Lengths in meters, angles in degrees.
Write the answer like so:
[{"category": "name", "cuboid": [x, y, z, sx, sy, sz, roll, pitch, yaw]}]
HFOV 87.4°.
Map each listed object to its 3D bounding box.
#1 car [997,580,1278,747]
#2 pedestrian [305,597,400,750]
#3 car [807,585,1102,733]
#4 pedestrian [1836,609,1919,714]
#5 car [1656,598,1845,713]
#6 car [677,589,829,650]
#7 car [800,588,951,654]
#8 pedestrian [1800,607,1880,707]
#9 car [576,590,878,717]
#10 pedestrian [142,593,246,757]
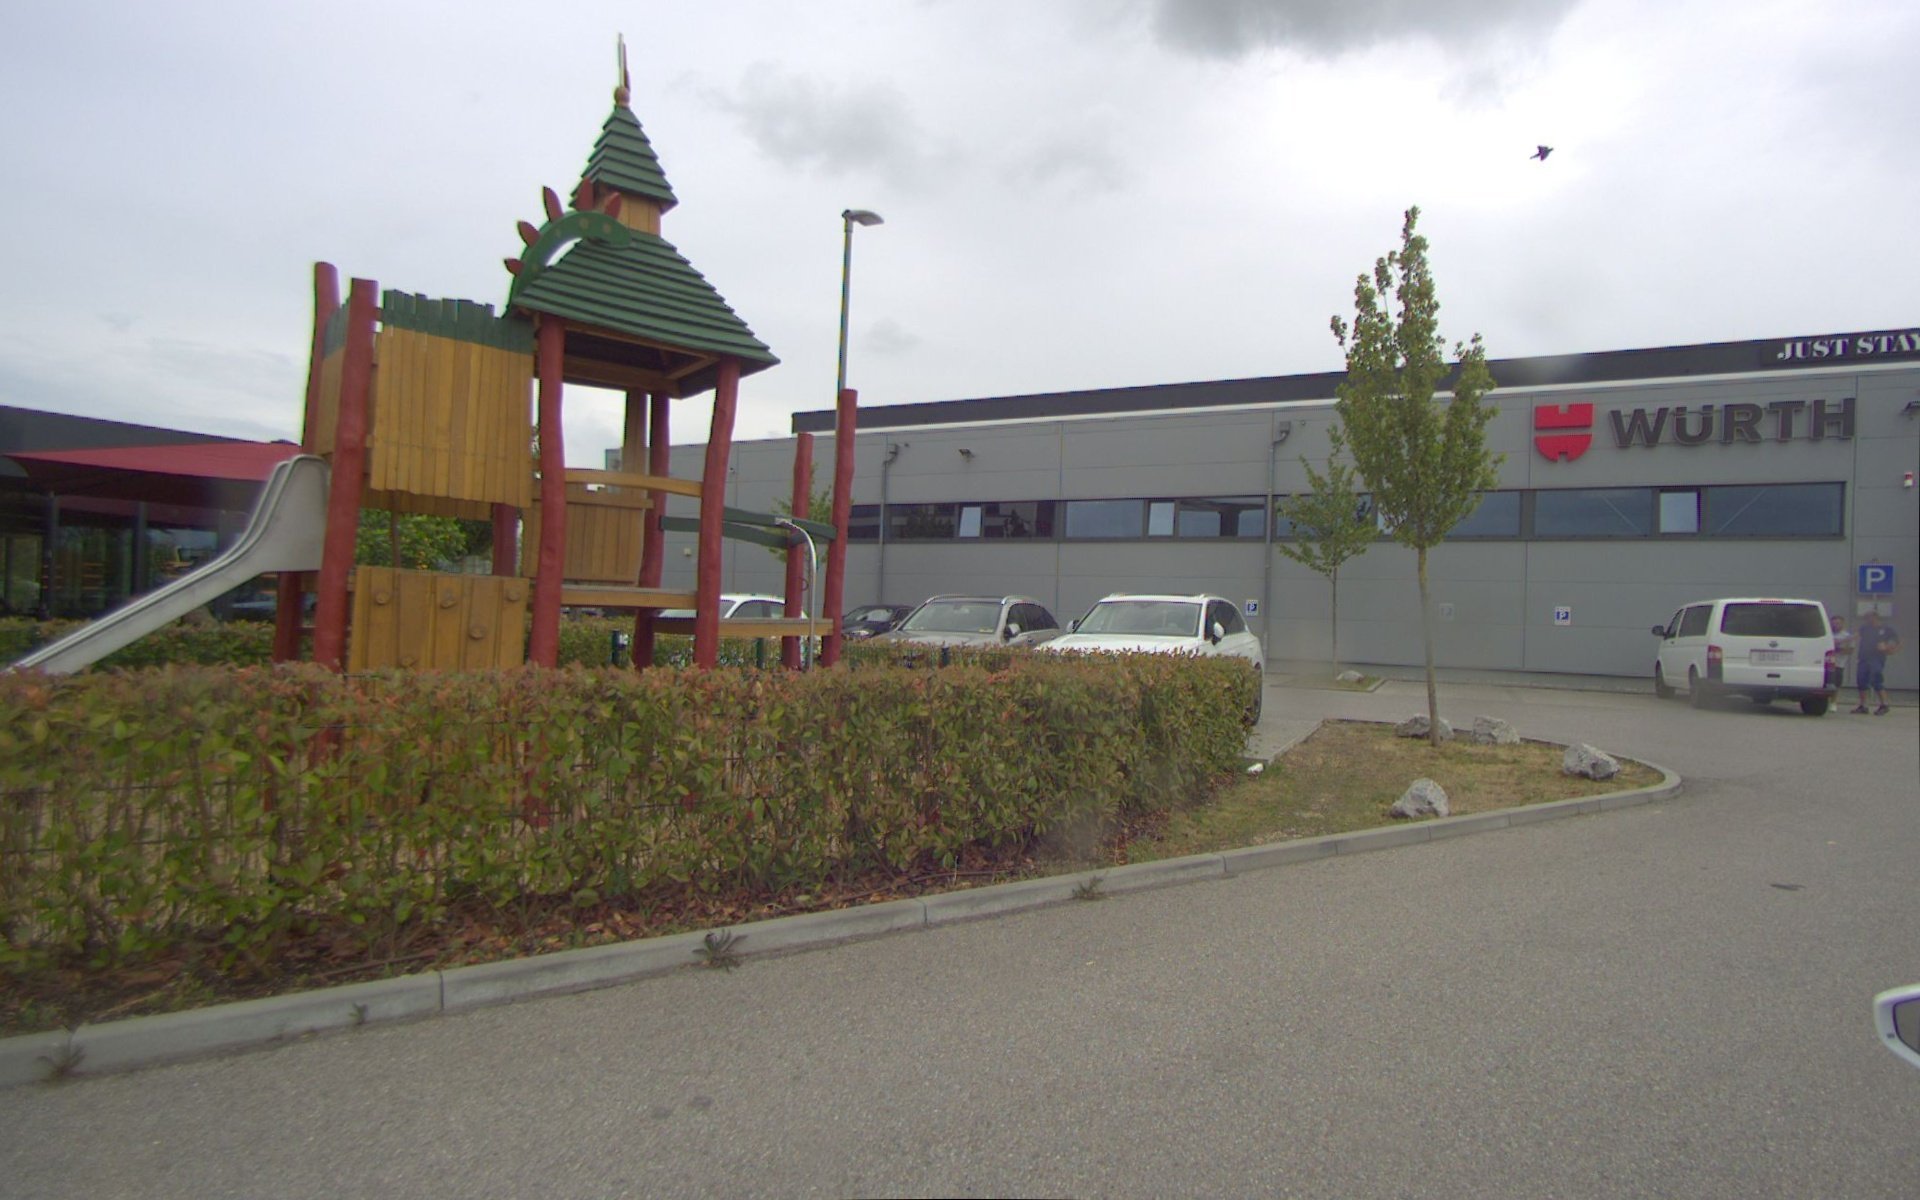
[{"category": "car", "cuboid": [2.421, 0.730, 12.533, 1.965, 1.672, 4.569, -1, -2, 31]}, {"category": "pedestrian", "cuboid": [-7.311, 0.863, 12.090, 0.730, 1.771, 0.702, -1, -2, 33]}, {"category": "car", "cuboid": [0.137, 0.756, 13.786, 1.965, 1.672, 4.569, -1, -2, 31]}, {"category": "pedestrian", "cuboid": [16.381, 1.083, 17.934, 0.862, 1.826, 0.679, 1, 0, 4]}, {"category": "car", "cuboid": [14.485, 0.987, 18.677, 2.024, 1.880, 4.057, -1, -2, 28]}, {"category": "car", "cuboid": [-6.052, 0.615, 29.975, 1.962, 1.660, 4.802, 0, -2, 25]}, {"category": "car", "cuboid": [-2.223, 0.607, 28.036, 1.963, 1.660, 4.801, 1, -2, 26]}, {"category": "pedestrian", "cuboid": [16.087, 1.036, 18.380, 0.887, 1.775, 0.626, 1, 0, -1]}, {"category": "car", "cuboid": [-3.414, 0.793, 15.676, 1.965, 1.672, 4.569, -1, -2, 31]}, {"category": "pedestrian", "cuboid": [-8.671, 0.824, 11.380, 0.730, 1.771, 0.702, -1, -2, 33]}]
